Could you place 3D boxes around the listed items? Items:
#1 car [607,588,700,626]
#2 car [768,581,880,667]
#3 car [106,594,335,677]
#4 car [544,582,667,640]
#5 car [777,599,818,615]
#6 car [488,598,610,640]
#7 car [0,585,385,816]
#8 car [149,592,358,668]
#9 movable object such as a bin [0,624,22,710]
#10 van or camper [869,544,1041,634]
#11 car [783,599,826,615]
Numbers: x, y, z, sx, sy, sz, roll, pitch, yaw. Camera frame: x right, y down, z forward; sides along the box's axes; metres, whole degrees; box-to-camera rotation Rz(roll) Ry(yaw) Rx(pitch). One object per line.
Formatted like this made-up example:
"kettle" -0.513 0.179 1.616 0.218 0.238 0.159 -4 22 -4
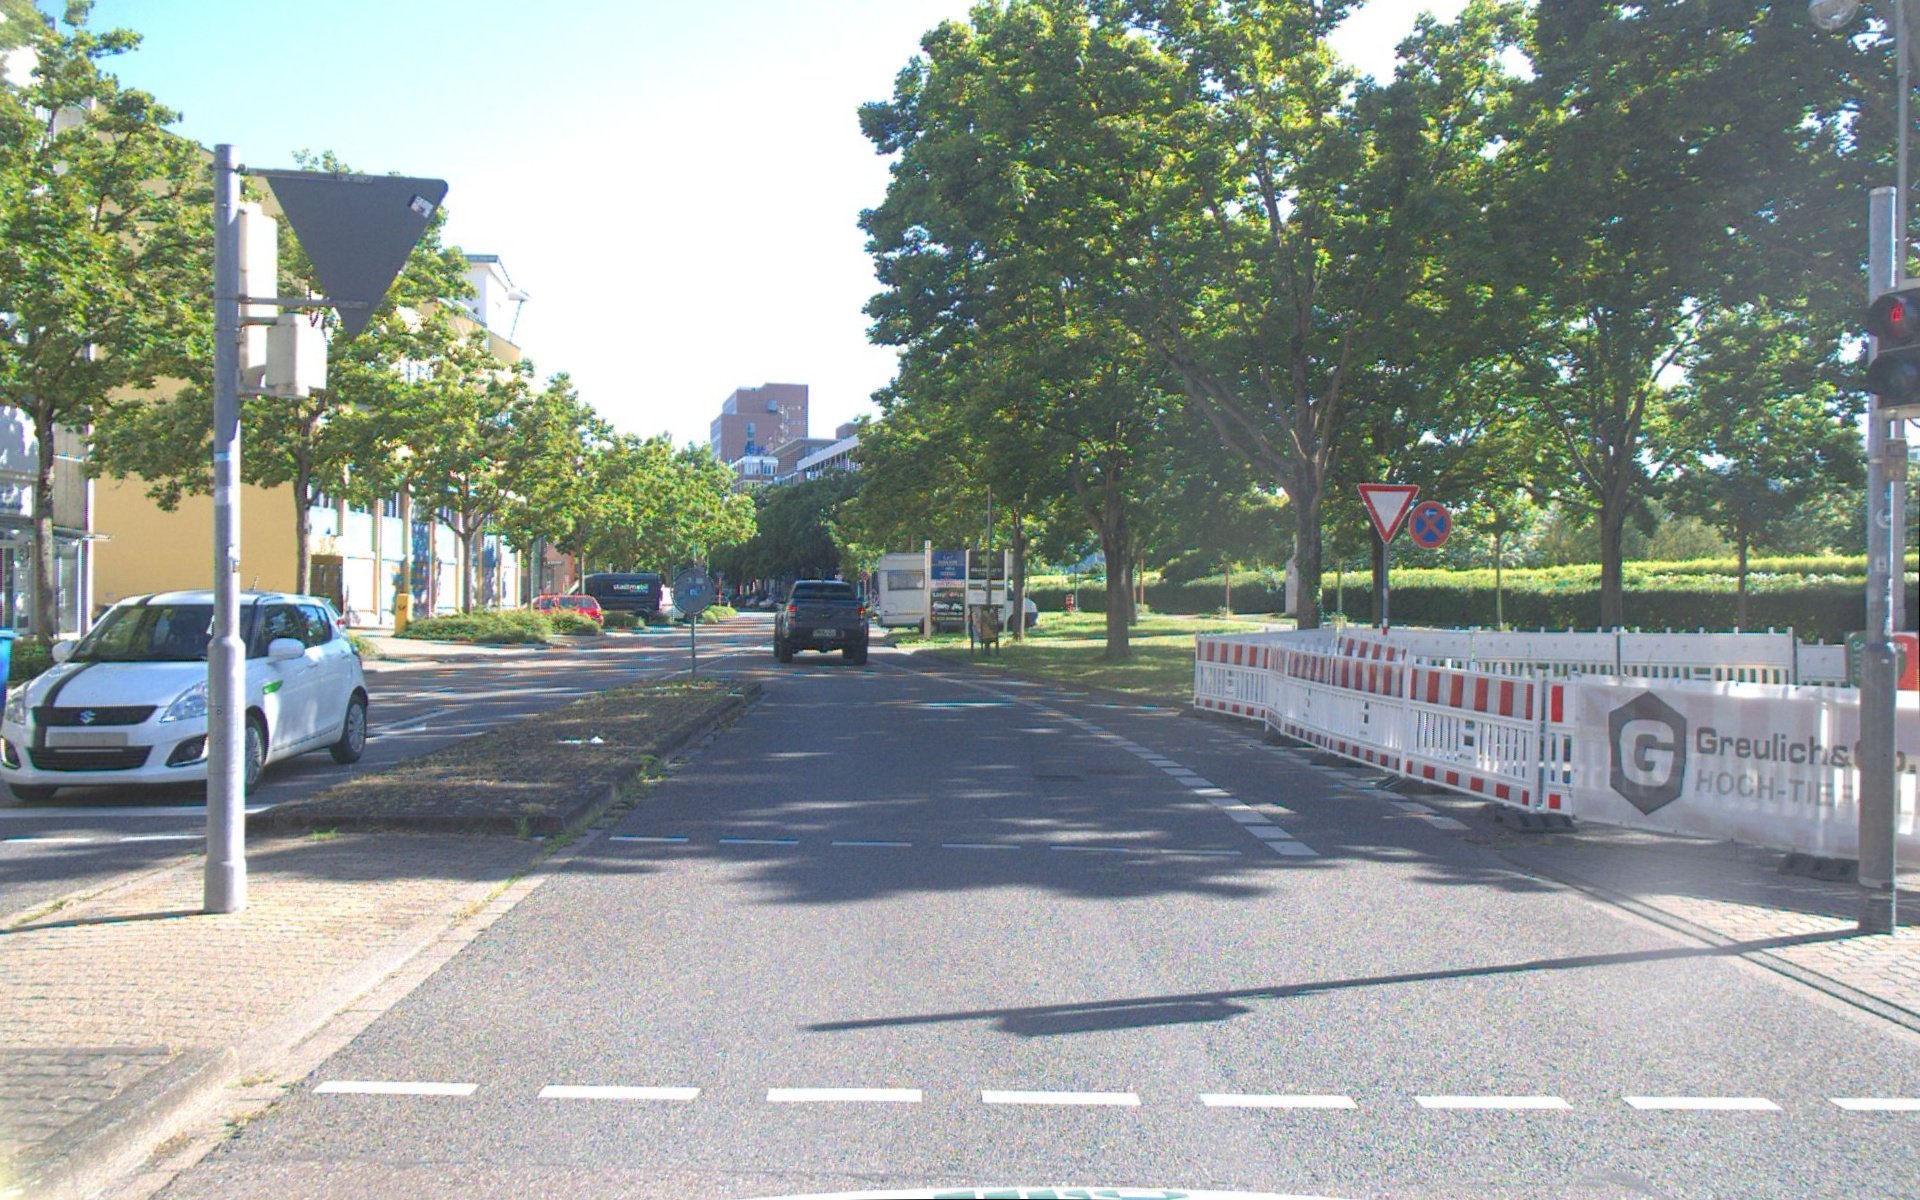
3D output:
"car" -17.326 0.375 93.694 4.850 2.119 1.958 0 0 -38
"car" -3.232 0.505 38.486 2.095 1.867 4.928 0 0 -11
"car" -14.545 0.686 32.596 3.842 1.536 1.805 1 -1 -36
"car" -16.214 0.488 75.637 5.202 2.590 1.967 0 0 -29
"car" -16.051 0.729 163.238 3.878 1.421 1.512 -2 0 -12
"car" -16.144 0.717 65.047 4.357 1.579 1.904 0 0 -28
"car" -6.036 0.671 13.204 1.671 1.539 3.861 -1 0 -3
"car" -15.122 0.643 35.458 3.841 1.536 1.806 1 -1 -35
"movable object such as a bin" -12.203 0.838 20.710 0.503 1.066 0.639 1 0 7
"van or camper" -0.233 -0.386 59.729 5.959 2.980 2.573 -2 0 -4
"car" -14.644 0.663 156.129 3.878 1.421 1.512 -2 0 -12
